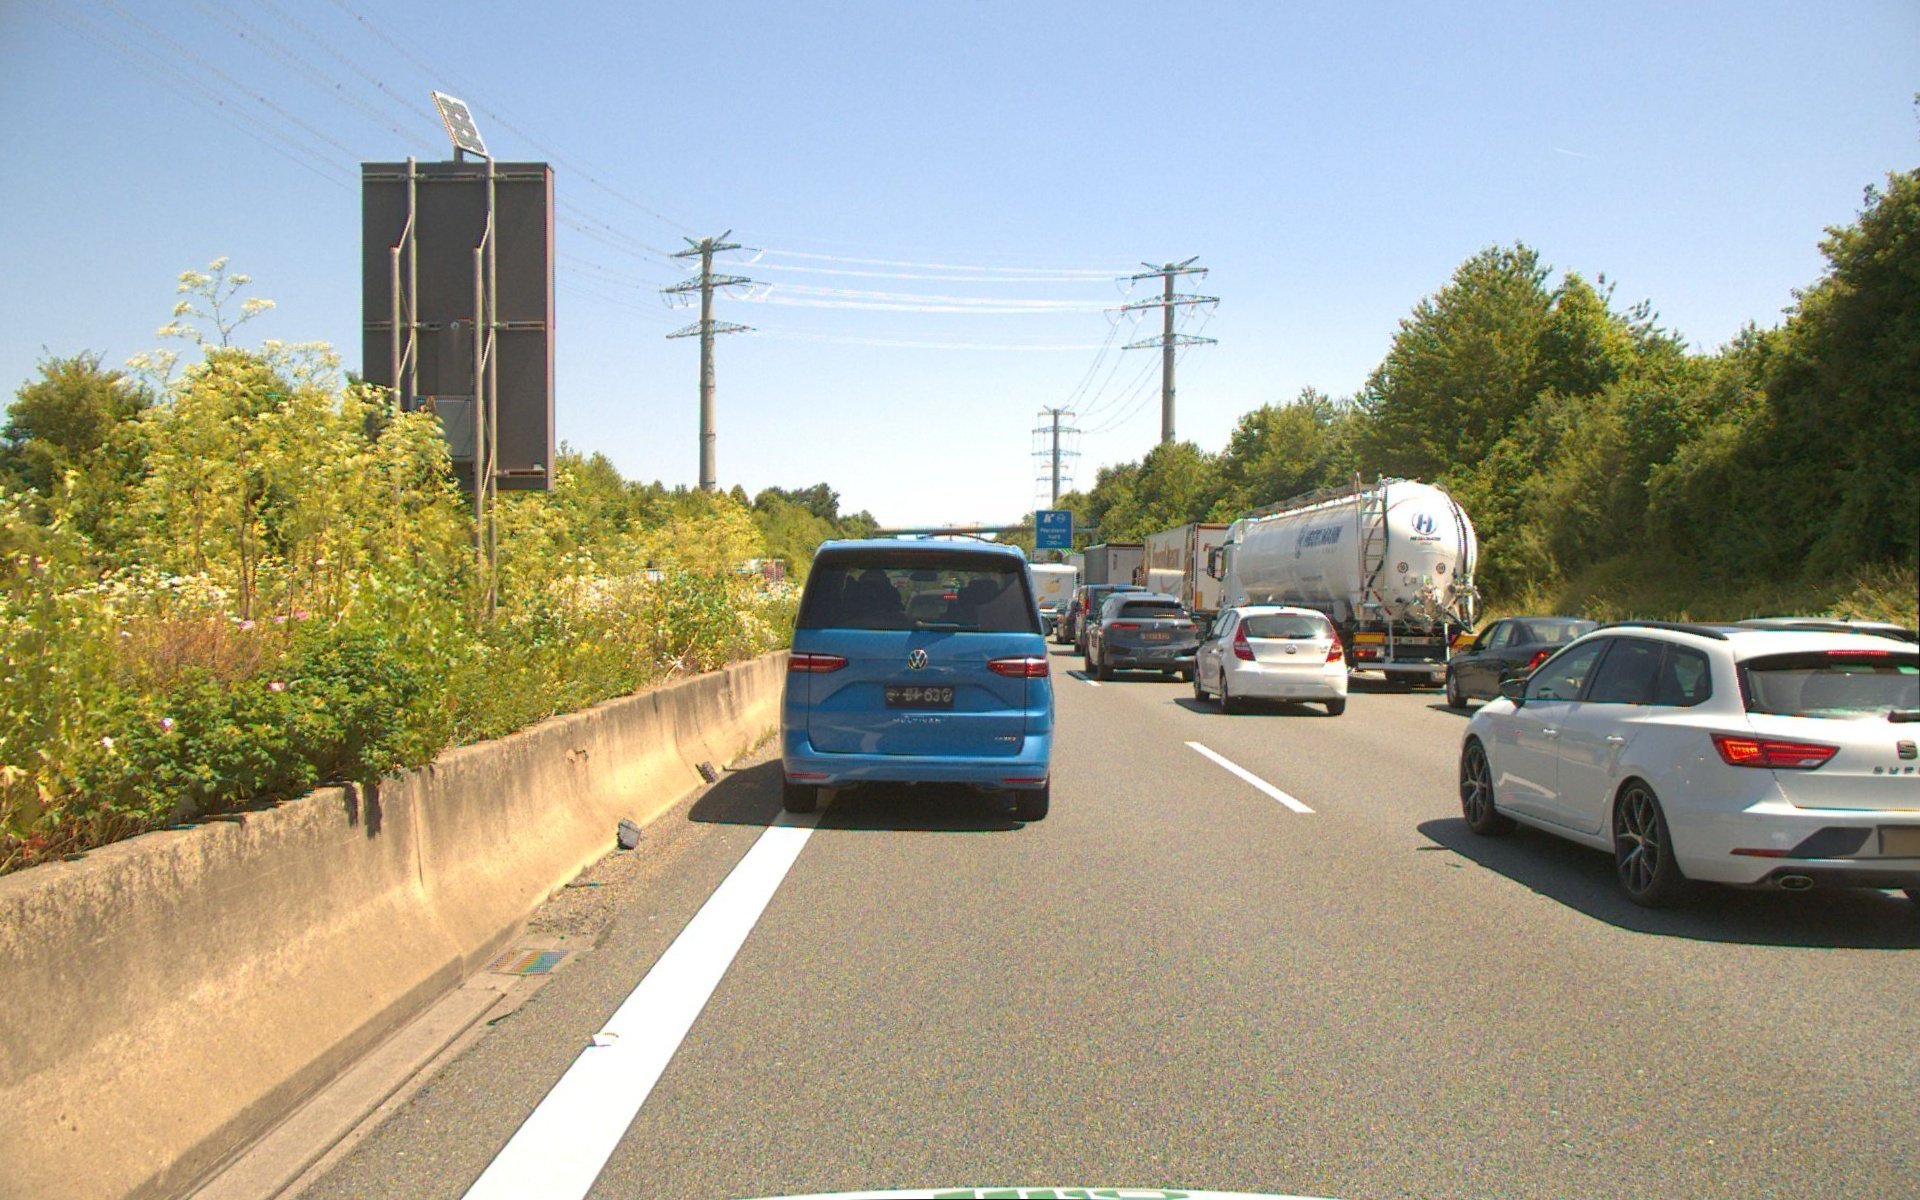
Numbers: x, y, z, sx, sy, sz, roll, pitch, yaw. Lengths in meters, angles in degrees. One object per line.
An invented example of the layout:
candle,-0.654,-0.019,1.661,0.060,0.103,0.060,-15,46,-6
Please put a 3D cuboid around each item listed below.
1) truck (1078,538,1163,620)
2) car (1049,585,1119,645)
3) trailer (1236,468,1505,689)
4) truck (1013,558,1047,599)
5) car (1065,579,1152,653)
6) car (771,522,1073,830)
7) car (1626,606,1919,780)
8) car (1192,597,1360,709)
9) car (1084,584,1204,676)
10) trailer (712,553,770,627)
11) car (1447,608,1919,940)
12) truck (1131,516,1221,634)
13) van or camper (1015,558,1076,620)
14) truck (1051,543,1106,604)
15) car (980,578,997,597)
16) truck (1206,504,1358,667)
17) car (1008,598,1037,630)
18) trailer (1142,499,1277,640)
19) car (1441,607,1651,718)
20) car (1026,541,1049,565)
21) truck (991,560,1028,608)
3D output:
truck,8.089,-0.951,85.399,2.944,3.832,15.712,0,0,0
car,4.204,0.531,56.675,1.885,1.959,4.233,-1,-1,-2
trailer,8.255,-0.374,35.146,2.705,3.912,11.483,0,0,-1
truck,8.285,-2.476,196.991,3.494,4.596,10.291,0,0,-1
car,4.167,0.464,47.057,1.885,1.959,4.233,-1,-1,-2
car,-0.250,0.476,12.550,1.881,1.919,4.000,1,0,0
car,8.329,0.823,16.521,1.695,1.468,4.028,0,0,-1
car,4.575,0.745,24.486,1.779,1.511,4.000,0,-1,1
car,3.659,0.605,33.682,1.958,1.745,4.625,0,-1,0
trailer,-15.635,-0.686,118.510,3.254,5.136,6.703,0,-1,0
car,4.283,0.801,9.509,1.712,1.468,4.313,0,-1,0
truck,8.618,-0.970,66.570,2.853,4.547,5.141,0,0,-1
van or camper,4.303,-0.518,84.844,2.896,3.075,7.103,0,0,1
truck,7.937,-1.673,112.080,2.836,3.832,13.344,0,0,0
car,3.465,-1.512,201.210,1.953,2.163,3.999,0,0,-1
truck,8.152,-0.342,42.475,2.736,3.904,5.571,0,0,-1
car,4.037,0.905,107.394,1.798,2.033,4.000,-1,-1,1
trailer,8.709,-0.984,59.382,2.853,4.547,12.151,0,0,-1
car,8.327,0.854,23.875,1.607,1.441,3.988,-1,-1,0
car,7.181,-4.333,153.870,1.953,2.049,4.000,0,0,0
truck,4.013,-1.248,136.526,2.836,3.832,10.140,0,0,0
